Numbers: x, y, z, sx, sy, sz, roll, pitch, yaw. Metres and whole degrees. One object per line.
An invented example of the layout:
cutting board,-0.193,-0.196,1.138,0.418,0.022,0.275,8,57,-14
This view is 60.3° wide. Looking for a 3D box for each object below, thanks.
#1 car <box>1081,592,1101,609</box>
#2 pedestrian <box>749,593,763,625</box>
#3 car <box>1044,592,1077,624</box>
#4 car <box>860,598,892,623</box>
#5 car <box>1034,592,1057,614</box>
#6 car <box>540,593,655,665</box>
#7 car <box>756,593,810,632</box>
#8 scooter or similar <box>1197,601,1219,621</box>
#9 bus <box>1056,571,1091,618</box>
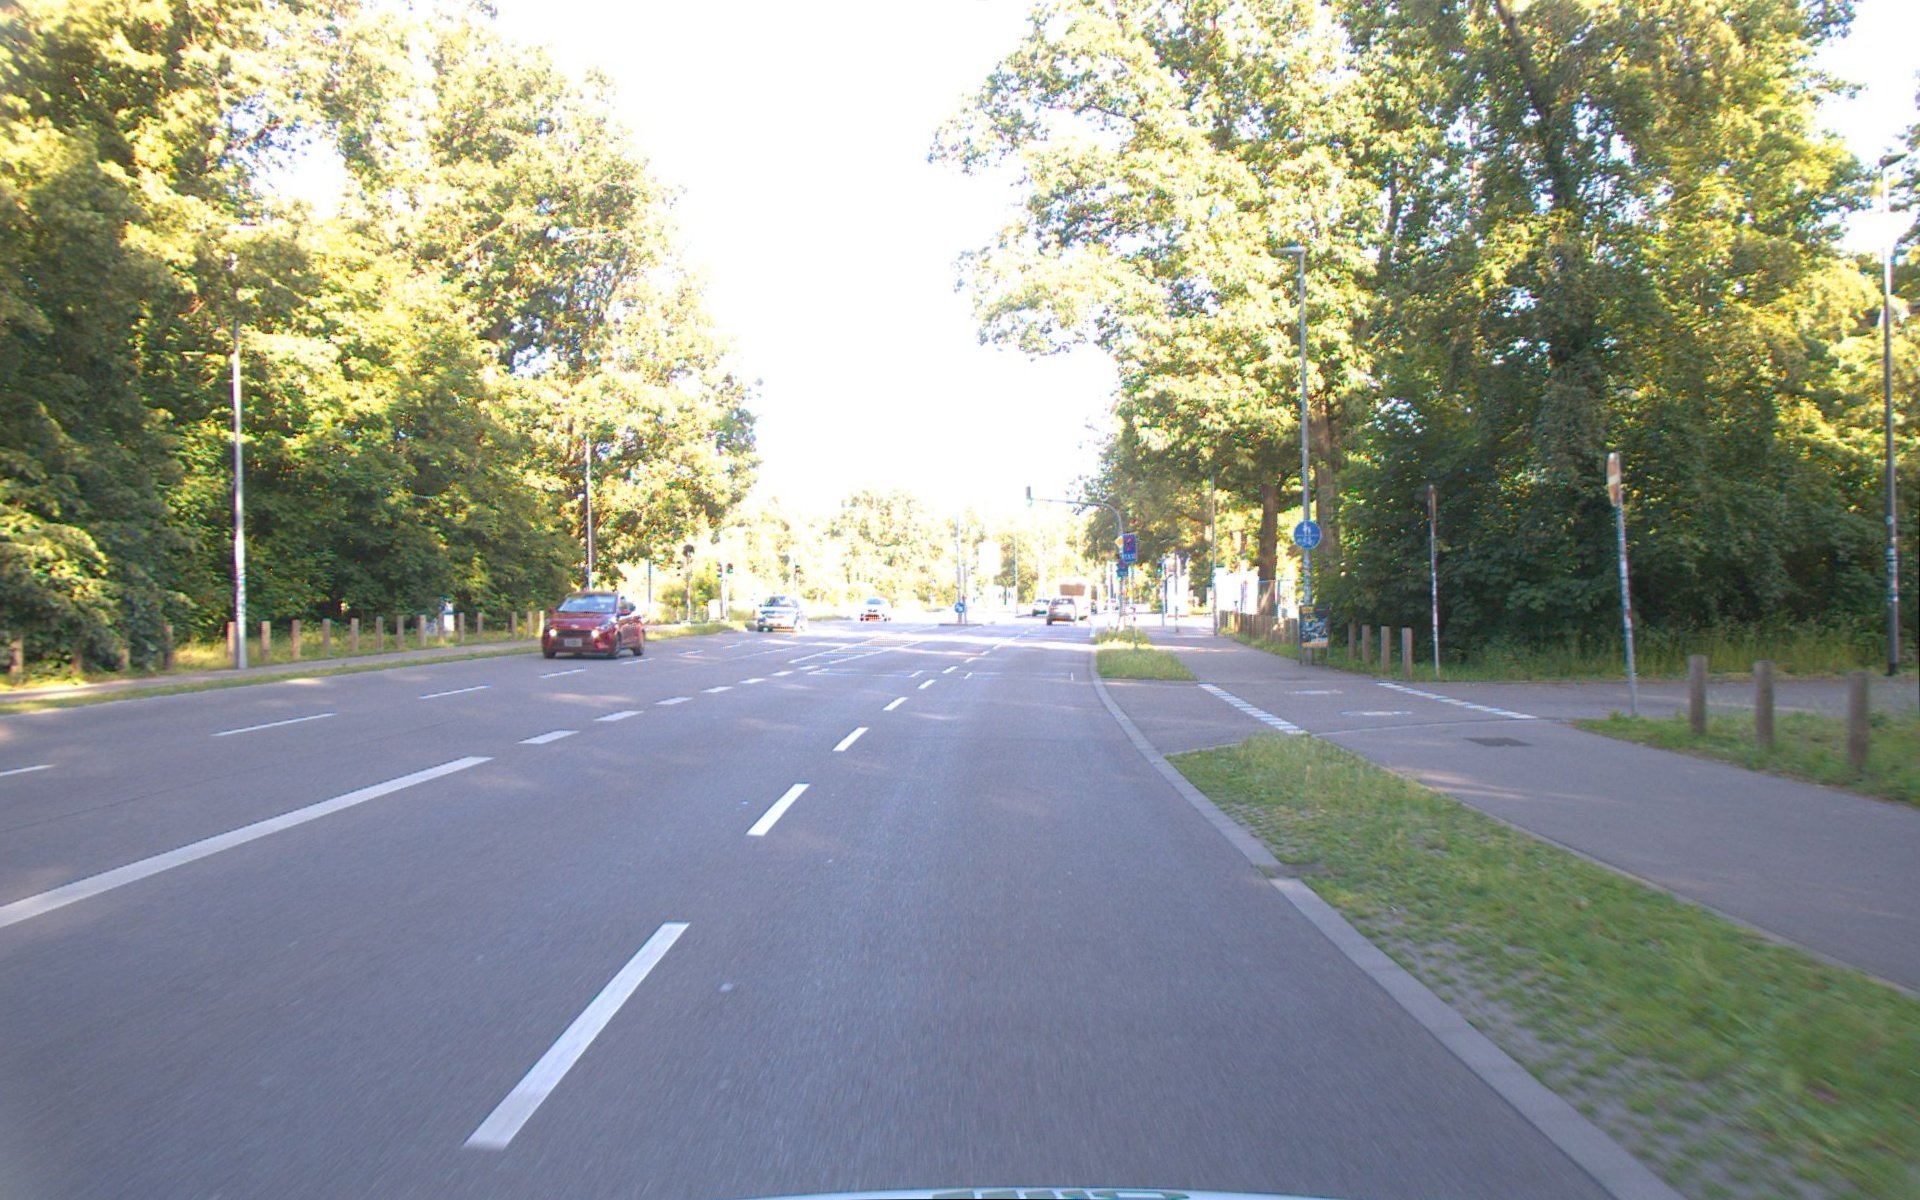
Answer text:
car,14.015,0.041,176.352,1.823,1.713,3.776,-1,0,8
pedestrian,-12.589,0.542,102.176,0.599,1.943,1.107,-1,-1,4
car,5.878,0.457,96.607,1.840,1.796,4.002,-1,0,4
car,-5.305,0.667,104.878,1.675,1.489,4.101,1,0,2
car,7.301,0.276,140.752,1.840,1.796,4.002,-1,0,4
car,-8.251,0.617,37.945,1.628,1.544,3.808,-1,0,3
car,-7.209,0.494,67.693,1.621,1.534,4.001,-1,0,2
scooter or similar,15.652,0.682,104.416,0.559,1.278,1.590,-1,0,43
bus,8.529,-0.454,123.838,2.550,3.427,7.980,0,0,4
